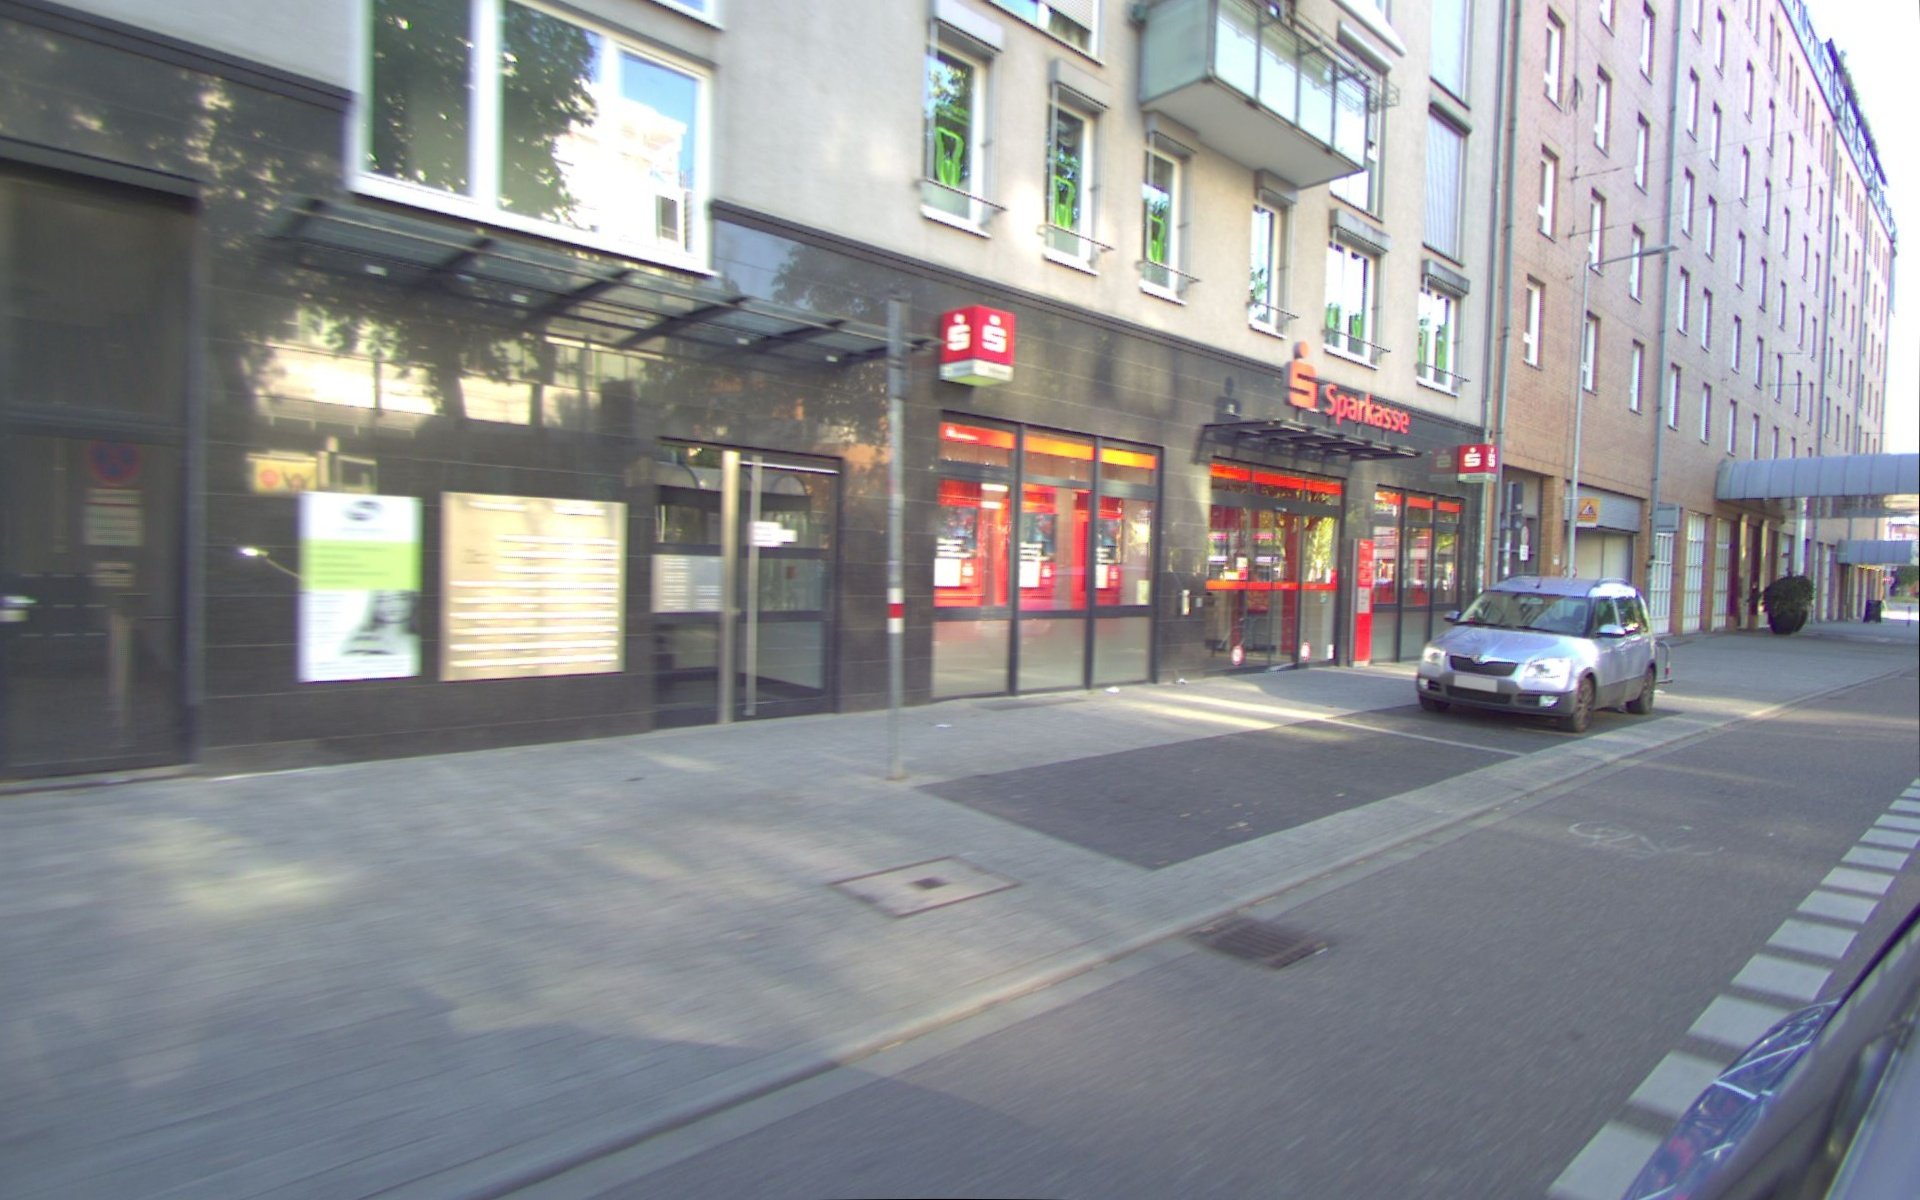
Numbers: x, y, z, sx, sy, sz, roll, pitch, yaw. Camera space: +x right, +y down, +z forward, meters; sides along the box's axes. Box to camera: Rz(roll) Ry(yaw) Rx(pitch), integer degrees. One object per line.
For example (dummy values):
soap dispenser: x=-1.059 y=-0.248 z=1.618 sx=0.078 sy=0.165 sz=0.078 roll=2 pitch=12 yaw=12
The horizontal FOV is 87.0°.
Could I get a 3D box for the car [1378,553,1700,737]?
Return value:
car: x=6.766 y=0.375 z=11.643 sx=4.210 sy=1.642 sz=1.837 roll=-1 pitch=5 yaw=-41
